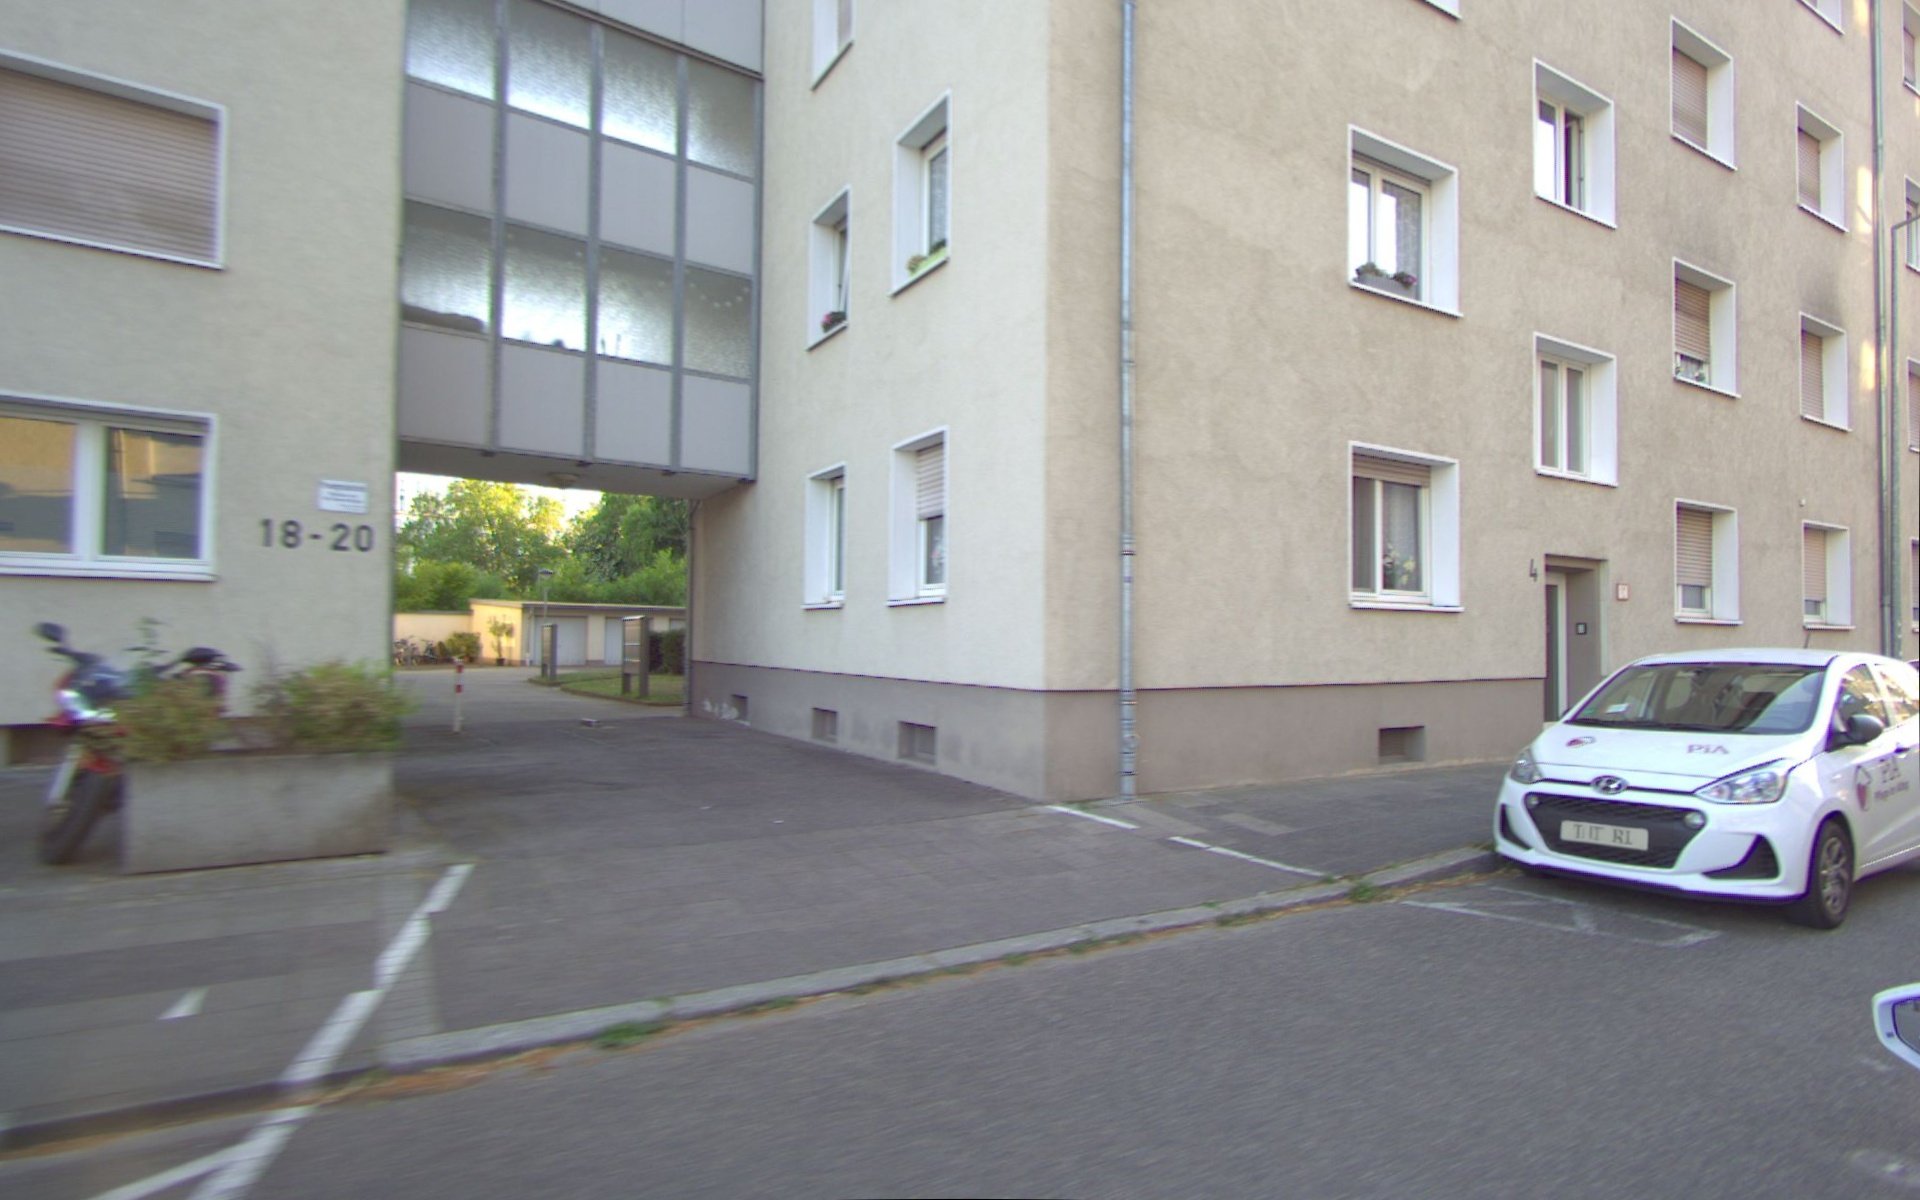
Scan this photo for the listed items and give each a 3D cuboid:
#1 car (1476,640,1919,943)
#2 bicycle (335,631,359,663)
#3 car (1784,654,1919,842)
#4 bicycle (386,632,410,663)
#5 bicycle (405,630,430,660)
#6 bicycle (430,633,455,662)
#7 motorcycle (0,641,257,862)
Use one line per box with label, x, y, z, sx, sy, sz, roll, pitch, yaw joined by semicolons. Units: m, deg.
car;5.168;1.029;6.614;3.467;1.492;1.607;1;-4;-33
bicycle;-24.740;1.886;40.532;0.515;1.244;1.824;2;-3;-41
car;9.182;1.211;8.964;3.987;1.453;1.650;1;-4;-33
bicycle;-23.446;1.976;41.903;0.515;1.244;1.824;2;-3;-41
bicycle;-22.875;1.893;42.355;0.515;1.244;1.824;2;-3;-41
bicycle;-22.256;2.027;43.208;0.515;1.244;1.824;2;-3;-41
motorcycle;-5.120;0.832;6.314;0.551;1.120;2.122;1;-2;-19
